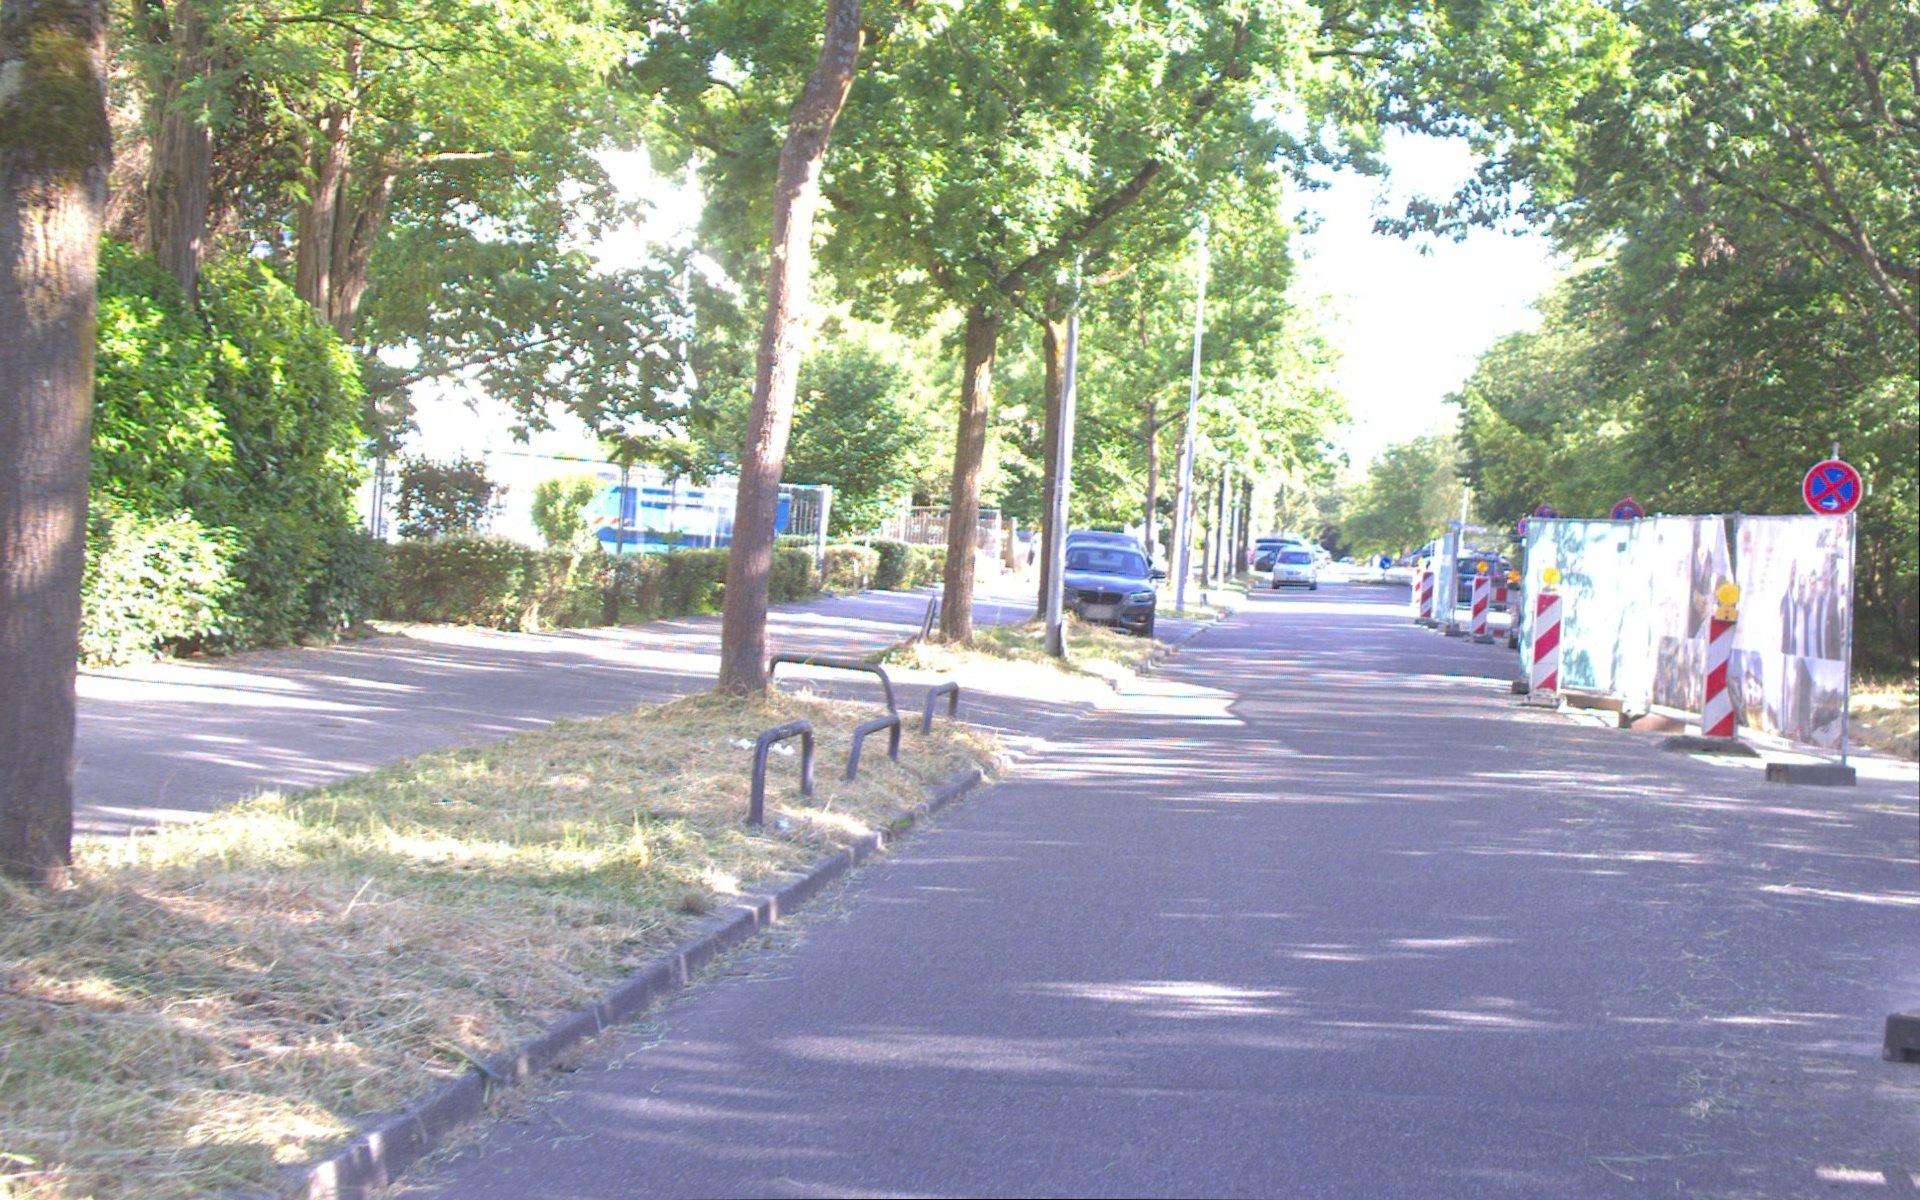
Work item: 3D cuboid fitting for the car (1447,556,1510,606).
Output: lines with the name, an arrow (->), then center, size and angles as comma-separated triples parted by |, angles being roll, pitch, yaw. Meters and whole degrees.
car -> 15.996, -0.598, 106.192 | 1.795, 1.405, 3.999 | 4, 1, 8

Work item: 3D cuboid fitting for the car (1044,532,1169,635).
car -> 2.366, -0.285, 54.709 | 1.751, 1.473, 3.836 | 4, 1, 5

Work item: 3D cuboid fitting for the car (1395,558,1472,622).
car -> 10.536, -0.228, 76.702 | 1.361, 1.297, 3.481 | 4, 0, 4

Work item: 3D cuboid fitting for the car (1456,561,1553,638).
car -> 10.065, -0.015, 63.711 | 1.361, 1.297, 3.481 | 4, 0, 4

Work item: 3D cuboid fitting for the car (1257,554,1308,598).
car -> 12.805, -0.952, 136.844 | 1.711, 1.579, 4.000 | 4, 0, 2

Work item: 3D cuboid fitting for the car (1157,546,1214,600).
car -> 5.884, -0.698, 89.840 | 1.361, 1.297, 3.481 | 4, 0, 4
